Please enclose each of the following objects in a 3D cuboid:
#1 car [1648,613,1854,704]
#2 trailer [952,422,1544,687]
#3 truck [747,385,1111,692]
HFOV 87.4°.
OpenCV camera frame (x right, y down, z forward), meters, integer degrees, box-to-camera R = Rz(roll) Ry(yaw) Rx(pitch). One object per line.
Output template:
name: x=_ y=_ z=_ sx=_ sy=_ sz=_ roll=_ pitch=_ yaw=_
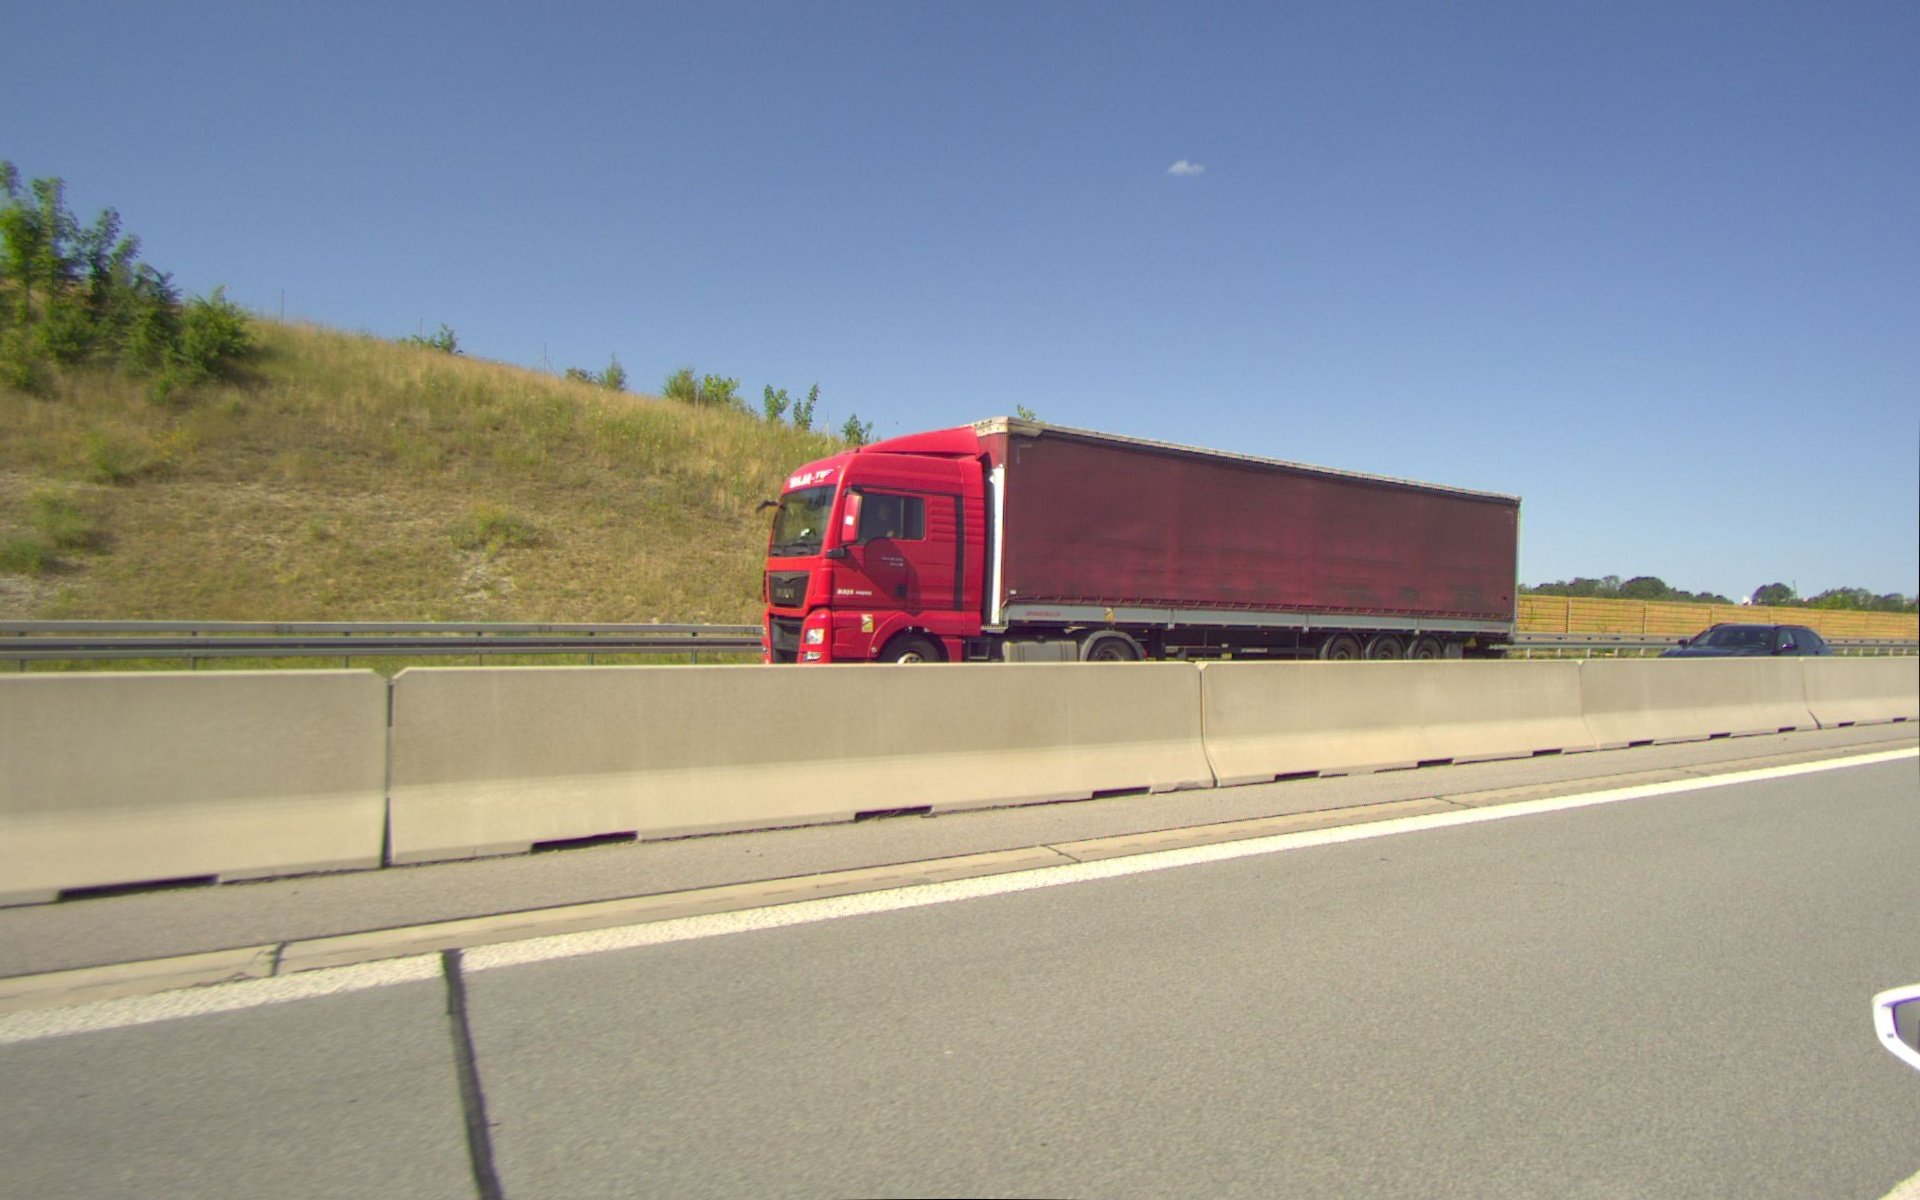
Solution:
car: x=16.091 y=1.136 z=20.371 sx=4.606 sy=1.615 sz=1.787 roll=2 pitch=0 yaw=-31
trailer: x=6.350 y=-0.499 z=19.601 sx=13.583 sy=3.927 sz=2.624 roll=2 pitch=0 yaw=-32
truck: x=-0.463 y=-0.739 z=15.356 sx=4.838 sy=3.974 sz=2.624 roll=2 pitch=0 yaw=-31
